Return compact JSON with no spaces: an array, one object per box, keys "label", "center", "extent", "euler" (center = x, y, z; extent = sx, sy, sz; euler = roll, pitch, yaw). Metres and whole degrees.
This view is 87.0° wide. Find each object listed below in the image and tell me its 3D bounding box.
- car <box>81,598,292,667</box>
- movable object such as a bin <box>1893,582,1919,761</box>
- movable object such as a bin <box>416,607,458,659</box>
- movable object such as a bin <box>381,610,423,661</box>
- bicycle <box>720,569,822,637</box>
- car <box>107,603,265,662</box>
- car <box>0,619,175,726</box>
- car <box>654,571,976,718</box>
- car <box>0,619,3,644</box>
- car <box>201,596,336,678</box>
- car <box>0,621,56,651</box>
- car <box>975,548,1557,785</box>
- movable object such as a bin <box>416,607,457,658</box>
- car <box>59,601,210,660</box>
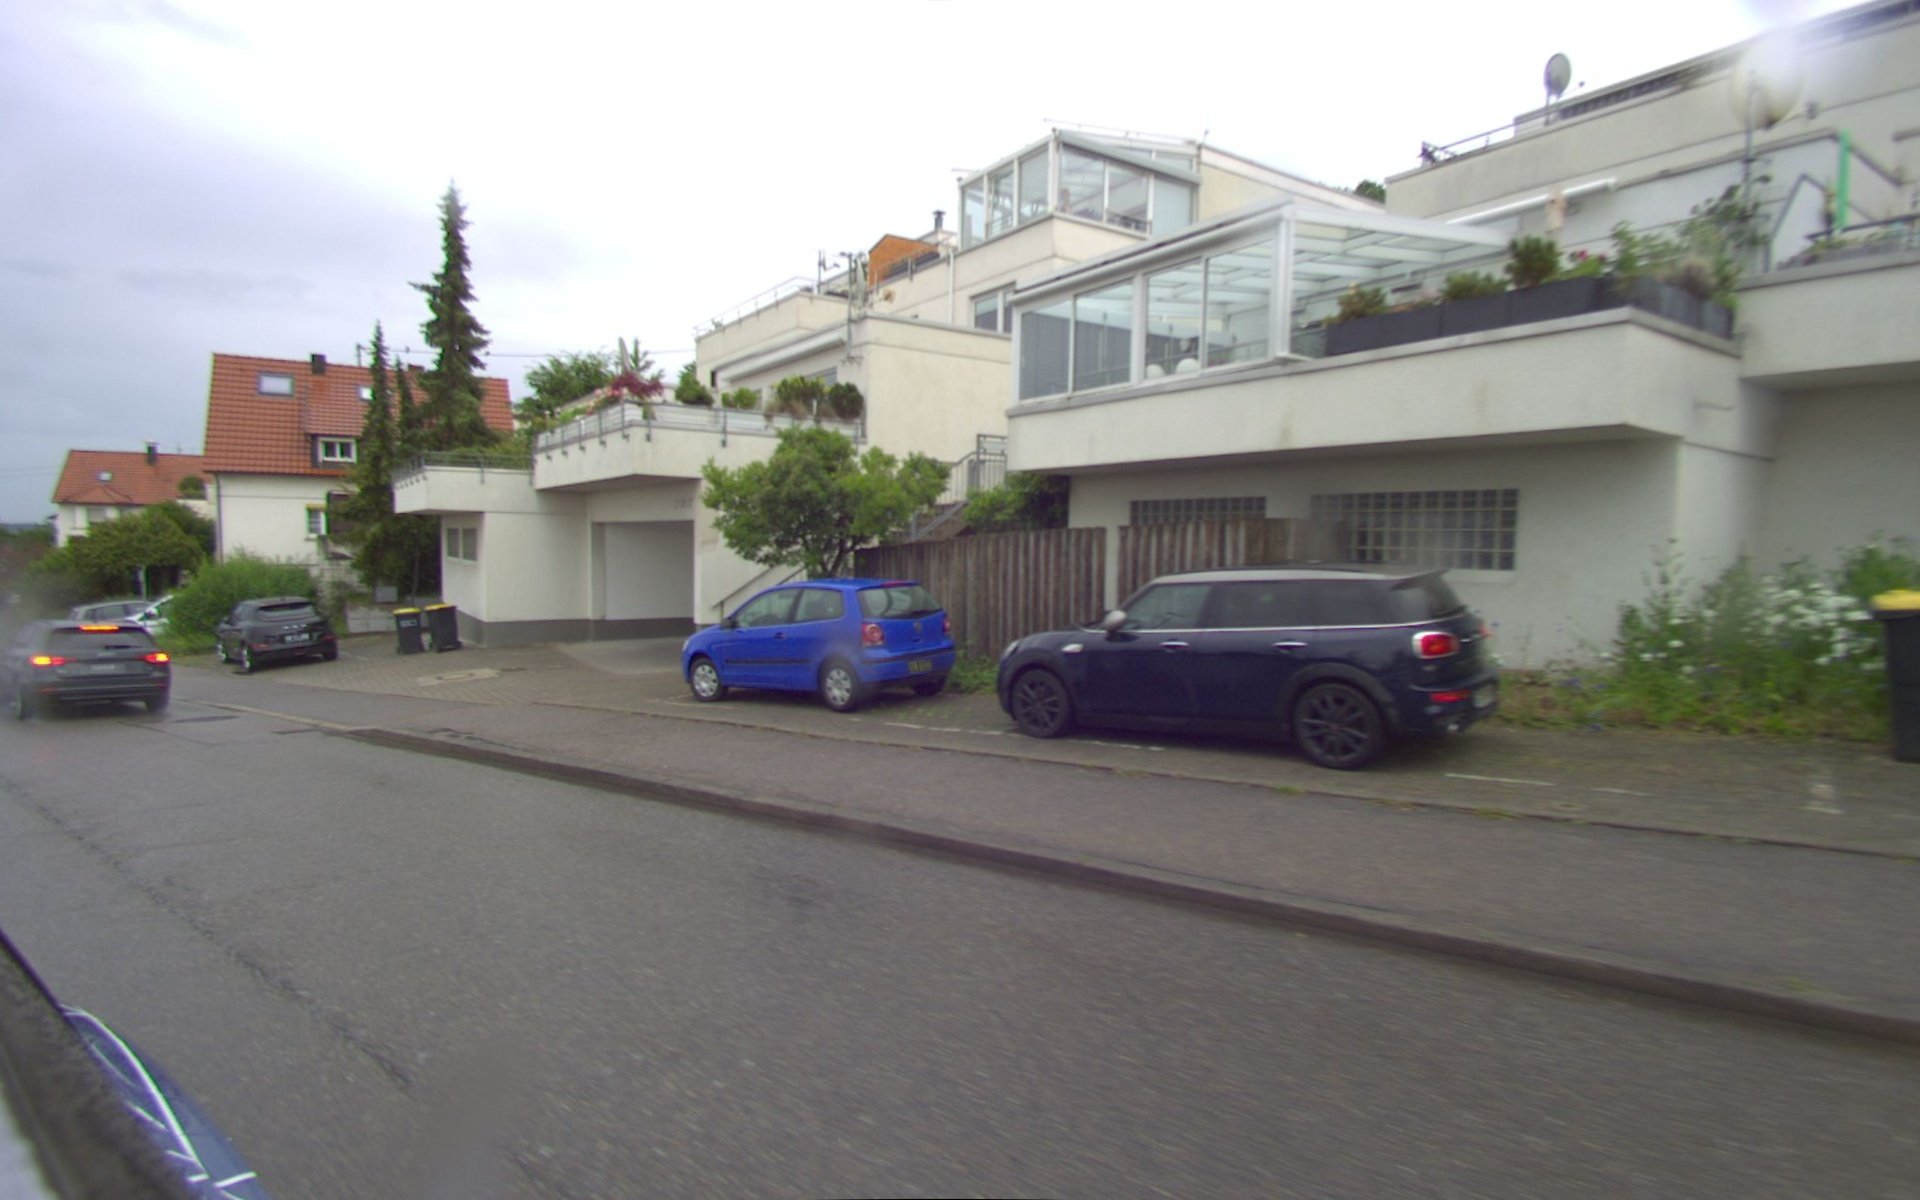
[{"label":"car","center":[-23.659,0.936,31.252],"extent":[5.016,1.959,2.147],"euler":[-1,0,-33]},{"label":"movable object such as a bin","center":[6.318,0.434,6.259],"extent":[0.633,1.092,0.752],"euler":[-2,1,-44]},{"label":"movable object such as a bin","center":[-11.941,0.739,23.099],"extent":[0.715,1.078,0.769],"euler":[-6,5,-32]},{"label":"movable object such as a bin","center":[-12.947,0.811,23.484],"extent":[0.715,1.078,0.852],"euler":[-6,5,-32]},{"label":"bicycle","center":[-3.097,0.033,16.592],"extent":[1.542,1.014,0.480],"euler":[-3,2,-21]},{"label":"car","center":[-25.649,1.016,33.724],"extent":[4.000,1.650,1.899],"euler":[-3,2,-33]},{"label":"car","center":[-14.018,1.054,15.888],"extent":[4.358,1.448,1.756],"euler":[-1,-3,40]},{"label":"car","center":[-1.875,0.501,12.414],"extent":[3.955,1.444,1.592],"euler":[-2,3,40]},{"label":"car","center":[-57.593,1.922,59.507],"extent":[1.745,1.386,4.252],"euler":[-6,3,-42]},{"label":"car","center":[-16.603,0.852,24.230],"extent":[4.197,1.599,1.672],"euler":[-1,6,44]},{"label":"car","center":[-53.476,1.990,56.824],"extent":[3.775,1.489,1.808],"euler":[6,-4,-35]},{"label":"car","center":[2.300,0.425,8.298],"extent":[4.236,1.406,1.617],"euler":[-1,4,41]},{"label":"movable object such as a bin","center":[-12.325,0.746,23.831],"extent":[0.715,1.078,0.769],"euler":[-6,5,-32]},{"label":"car","center":[-29.667,1.045,36.550],"extent":[4.003,1.704,1.898],"euler":[-6,4,-36]}]
